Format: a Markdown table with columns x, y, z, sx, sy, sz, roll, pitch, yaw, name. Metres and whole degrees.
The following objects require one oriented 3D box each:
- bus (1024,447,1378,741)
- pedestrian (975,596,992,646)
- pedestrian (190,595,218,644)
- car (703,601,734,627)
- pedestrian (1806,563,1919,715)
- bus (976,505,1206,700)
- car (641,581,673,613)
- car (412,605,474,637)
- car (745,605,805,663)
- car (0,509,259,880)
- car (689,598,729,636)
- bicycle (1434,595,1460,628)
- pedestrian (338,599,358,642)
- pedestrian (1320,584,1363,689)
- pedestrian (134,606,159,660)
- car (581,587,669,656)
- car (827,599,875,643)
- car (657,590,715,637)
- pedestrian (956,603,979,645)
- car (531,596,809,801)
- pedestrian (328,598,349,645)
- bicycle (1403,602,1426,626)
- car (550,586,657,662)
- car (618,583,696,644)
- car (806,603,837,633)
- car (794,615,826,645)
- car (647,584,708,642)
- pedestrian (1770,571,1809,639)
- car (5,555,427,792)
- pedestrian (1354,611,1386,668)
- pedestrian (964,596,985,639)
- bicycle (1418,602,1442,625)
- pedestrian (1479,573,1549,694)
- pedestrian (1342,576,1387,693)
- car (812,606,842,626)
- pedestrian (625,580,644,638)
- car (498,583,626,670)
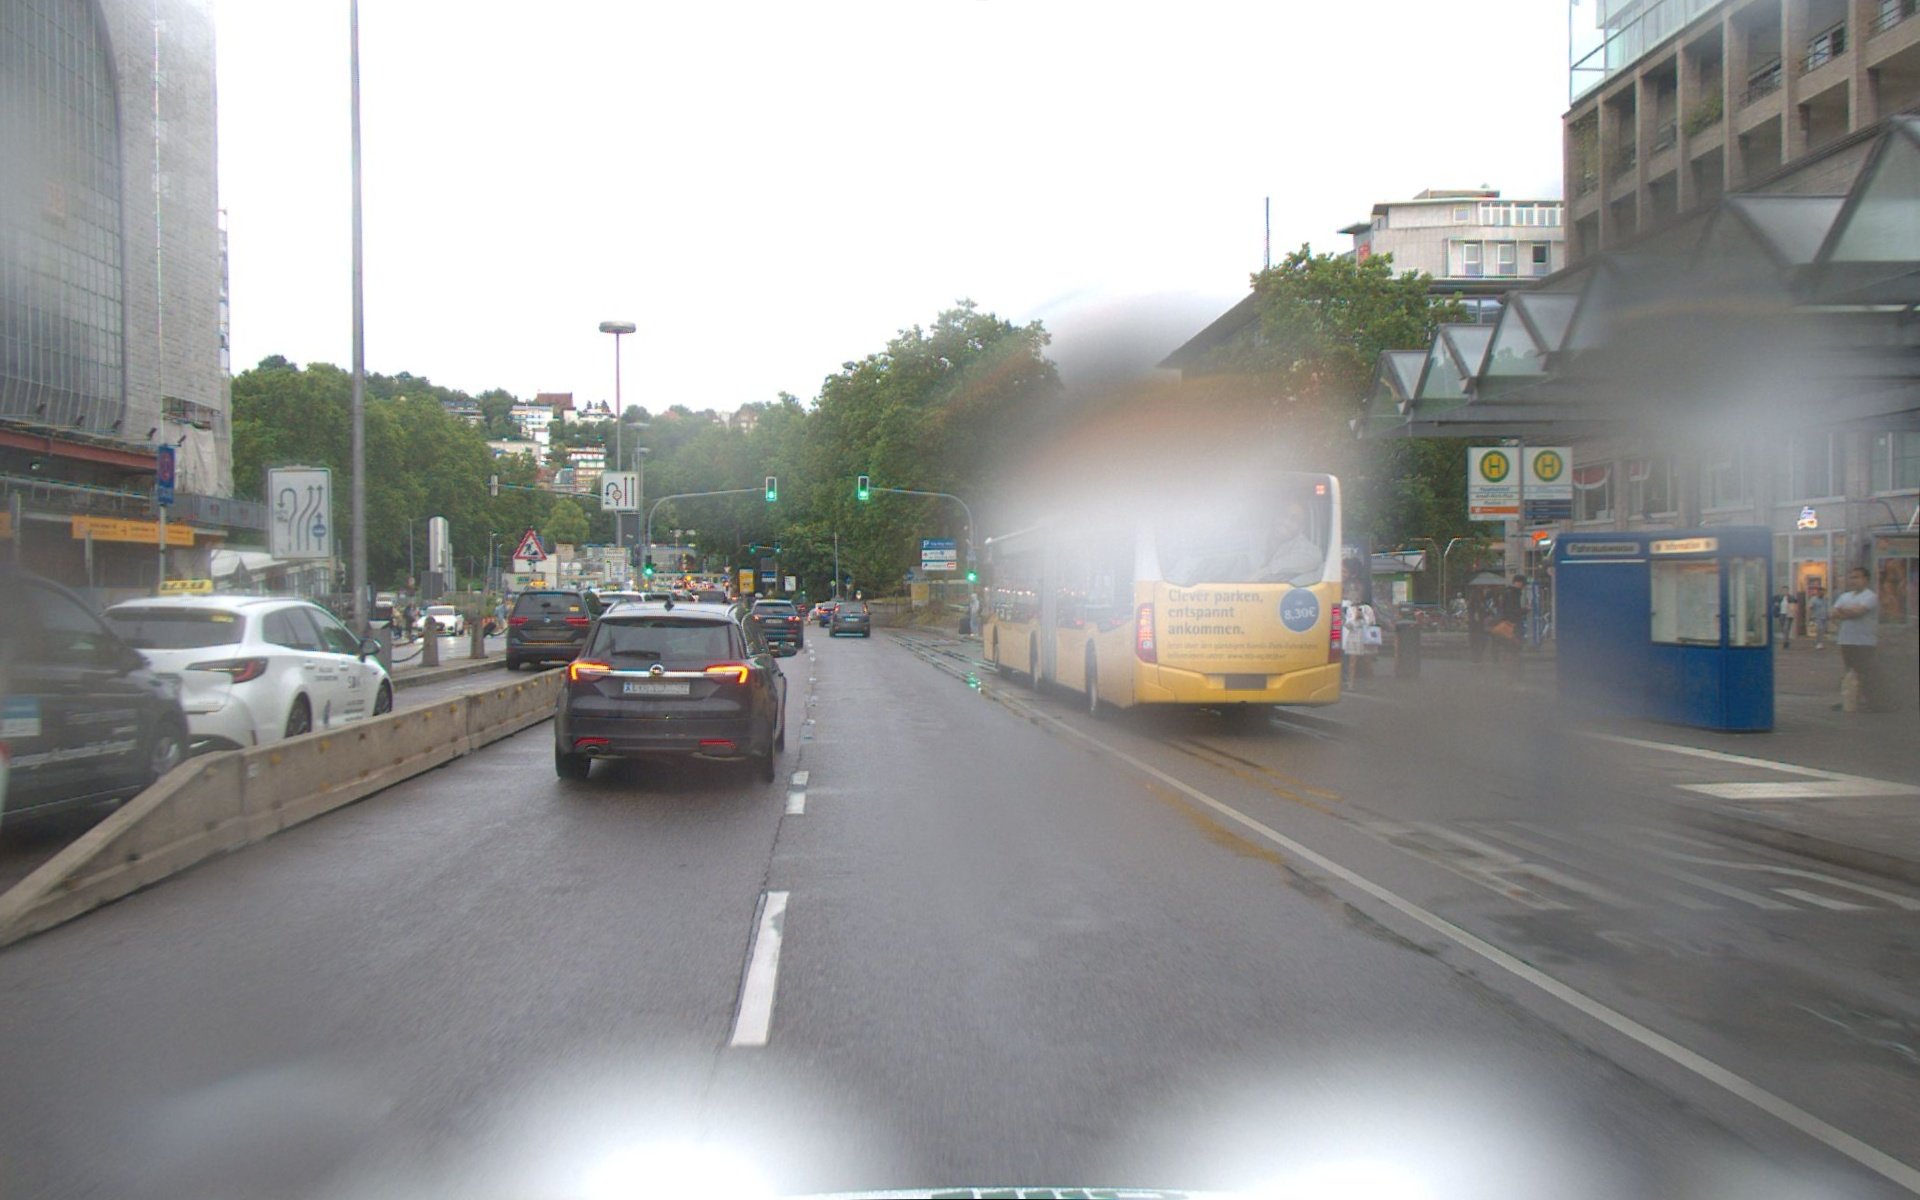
| x | y | z | sx | sy | sz | roll | pitch | yaw | name |
| --- | --- | --- | --- | --- | --- | --- | --- | --- | --- |
| 2.935 | -0.015 | 23.390 | 3.079 | 3.304 | 9.127 | 1 | -1 | -4 | bus |
| 1.028 | 0.941 | 73.113 | 0.545 | 2.183 | 0.664 | 0 | 0 | -19 | pedestrian |
| -29.133 | 0.752 | 63.756 | 0.763 | 1.873 | 0.771 | 0 | 0 | -5 | pedestrian |
| -14.728 | 0.853 | 100.792 | 1.789 | 1.537 | 4.482 | 1 | -1 | -8 | car |
| 11.251 | 0.470 | 20.626 | 0.779 | 1.836 | 0.981 | 0 | 0 | -32 | pedestrian |
| 2.268 | 0.094 | 32.526 | 3.052 | 3.261 | 9.232 | 1 | -1 | -5 | bus |
| -19.957 | -0.176 | 108.989 | 1.957 | 2.049 | 5.357 | 1 | -1 | -9 | car |
| -25.049 | 1.019 | 80.273 | 1.954 | 1.493 | 3.996 | 1 | -1 | -4 | car |
| -5.806 | 1.036 | 52.056 | 1.795 | 1.715 | 4.128 | 0 | 0 | -6 | car |
| -5.935 | 0.496 | 9.469 | 1.954 | 1.895 | 4.830 | -1 | 0 | -3 | car |
| -12.876 | 0.875 | 84.893 | 1.956 | 1.878 | 5.052 | 1 | -1 | -8 | car |
| 23.664 | 0.539 | 80.407 | 0.776 | 1.589 | 2.132 | 0 | 0 | 3 | bicycle |
| -26.489 | 0.891 | 71.599 | 0.684 | 1.873 | 0.528 | 0 | 0 | -6 | pedestrian |
| 6.445 | 0.613 | 27.938 | 0.597 | 1.753 | 0.592 | 0 | 0 | 0 | pedestrian |
| -28.086 | 1.130 | 57.132 | 0.525 | 1.873 | 0.771 | 0 | 0 | -5 | pedestrian |
| -9.253 | 0.567 | 45.972 | 1.955 | 1.818 | 4.448 | -1 | 0 | -6 | car |
| -4.572 | 0.863 | 68.831 | 1.816 | 1.747 | 3.994 | 1 | -1 | -6 | car |
| -10.473 | 0.510 | 63.479 | 1.751 | 1.715 | 4.662 | -1 | 0 | -4 | car |
| 0.332 | 1.056 | 74.512 | 0.774 | 1.871 | 0.945 | 0 | 0 | -19 | pedestrian |
| -2.401 | 0.747 | 14.870 | 1.840 | 1.534 | 4.849 | 0 | 0 | -3 | car |
| -25.239 | 0.866 | 67.217 | 0.626 | 1.873 | 0.774 | 0 | 0 | -7 | pedestrian |
| 21.052 | 0.641 | 76.630 | 0.603 | 1.074 | 1.997 | -2 | 0 | 3 | bicycle |
| -8.717 | 0.556 | 40.867 | 2.010 | 1.741 | 5.049 | -1 | 0 | -6 | car |
| -9.468 | 0.406 | 51.973 | 1.955 | 1.818 | 4.842 | -1 | 0 | -5 | car |
| -7.756 | 1.023 | 92.636 | 1.641 | 1.609 | 3.236 | 1 | -1 | -5 | car |
| -9.323 | 1.848 | 102.853 | 1.867 | 1.747 | 3.994 | 1 | -1 | -6 | car |
| -9.766 | 0.433 | 57.422 | 1.680 | 1.925 | 4.605 | -1 | 0 | -5 | car |
| 22.612 | 0.145 | 45.078 | 0.639 | 1.823 | 0.789 | -1 | 0 | 0 | pedestrian |
| -6.302 | 0.543 | 14.716 | 1.955 | 1.736 | 4.827 | -1 | 0 | -6 | car |
| 9.163 | 0.869 | 36.979 | 0.504 | 1.254 | 0.770 | -1 | 0 | -1 | pedestrian |
| 0.629 | 0.760 | 71.670 | 0.734 | 1.836 | 0.706 | 0 | 0 | -19 | pedestrian |
| 21.785 | 0.626 | 76.660 | 0.603 | 1.043 | 1.997 | -2 | 0 | 3 | bicycle |
| 8.760 | 0.521 | 26.203 | 0.963 | 1.869 | 0.836 | 0 | 0 | 12 | pedestrian |
| 6.544 | 0.548 | 26.771 | 0.680 | 1.869 | 0.556 | 0 | 0 | 12 | pedestrian |
| -11.115 | 1.314 | 138.335 | 1.784 | 1.602 | 3.984 | 1 | -1 | -15 | car |
| -11.740 | 0.320 | 59.660 | 0.609 | 2.049 | 0.835 | 0 | 0 | -5 | pedestrian |
| -8.269 | 0.527 | 34.744 | 1.955 | 1.683 | 4.636 | -1 | 0 | -5 | car |
